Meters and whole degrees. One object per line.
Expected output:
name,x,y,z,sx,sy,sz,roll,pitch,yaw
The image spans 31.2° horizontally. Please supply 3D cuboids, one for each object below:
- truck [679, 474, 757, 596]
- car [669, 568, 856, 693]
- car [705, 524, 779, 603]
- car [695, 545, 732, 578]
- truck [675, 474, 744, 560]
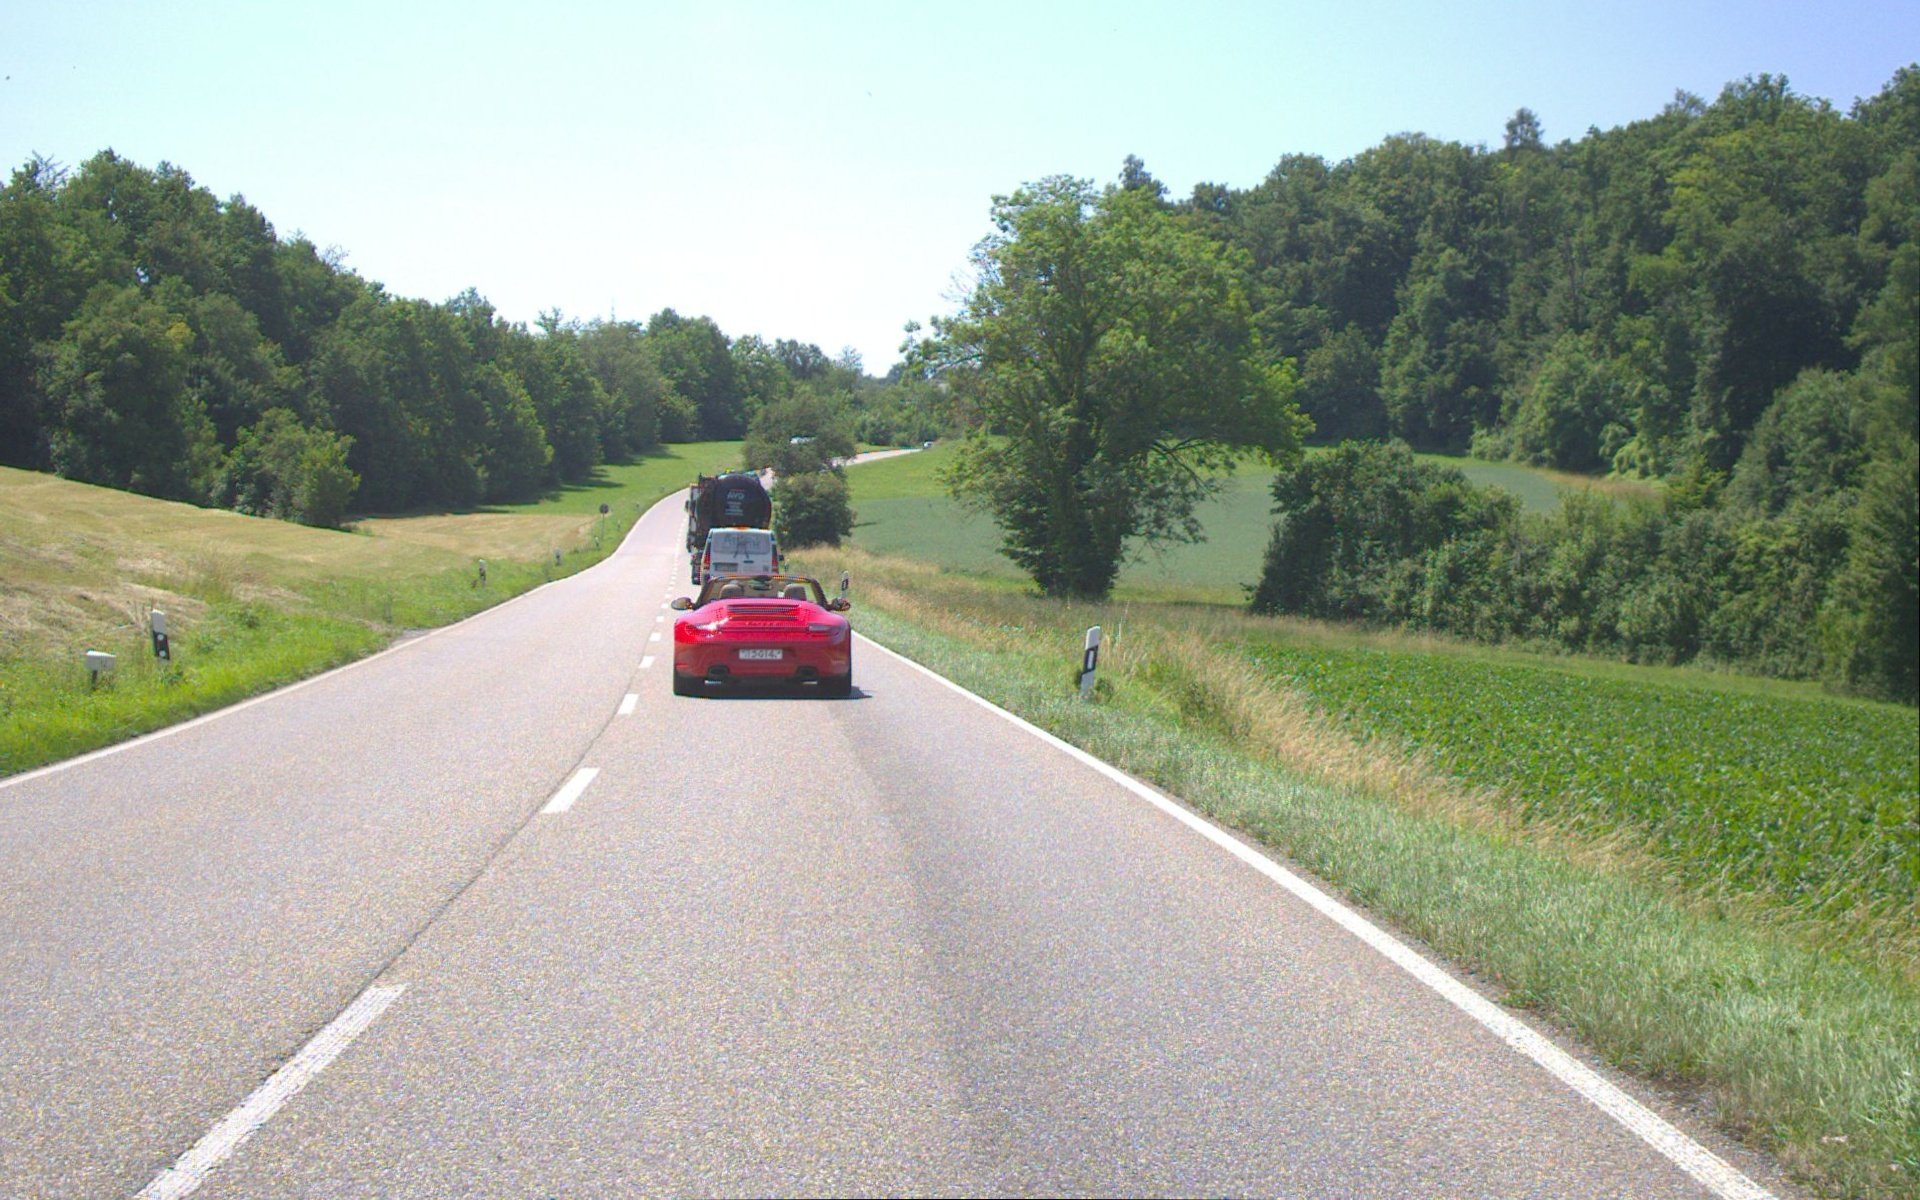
truck,-8.586,-2.386,120.845,2.403,4.035,12.553,1,2,-5
car,-2.127,0.296,36.832,1.882,1.251,4.010,0,1,-4
car,-5.352,-0.923,84.702,1.678,1.894,4.010,0,1,-2
car,-12.003,-1.887,167.268,1.722,1.579,4.161,1,1,-5
truck,-15.116,-5.052,206.728,3.724,4.644,12.035,1,4,-6
